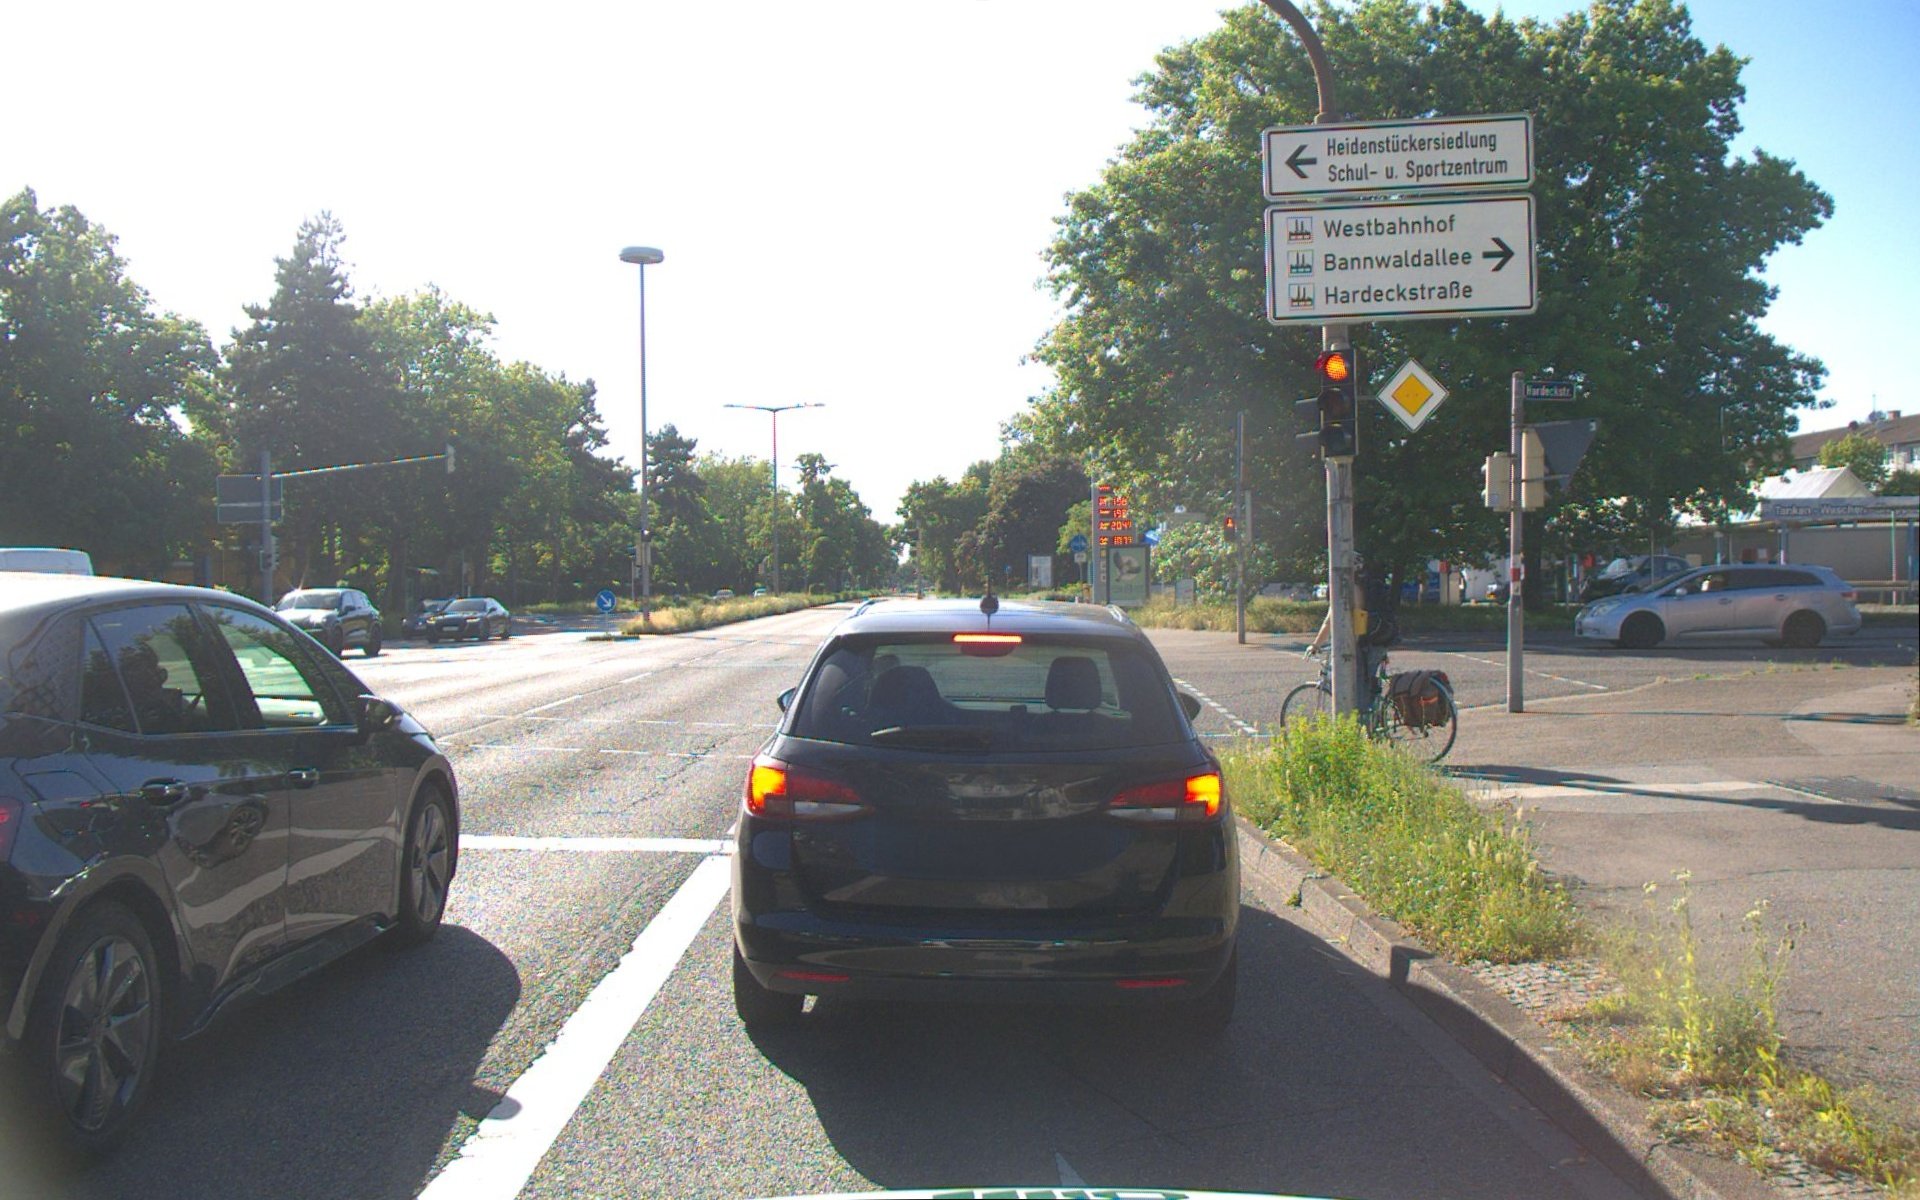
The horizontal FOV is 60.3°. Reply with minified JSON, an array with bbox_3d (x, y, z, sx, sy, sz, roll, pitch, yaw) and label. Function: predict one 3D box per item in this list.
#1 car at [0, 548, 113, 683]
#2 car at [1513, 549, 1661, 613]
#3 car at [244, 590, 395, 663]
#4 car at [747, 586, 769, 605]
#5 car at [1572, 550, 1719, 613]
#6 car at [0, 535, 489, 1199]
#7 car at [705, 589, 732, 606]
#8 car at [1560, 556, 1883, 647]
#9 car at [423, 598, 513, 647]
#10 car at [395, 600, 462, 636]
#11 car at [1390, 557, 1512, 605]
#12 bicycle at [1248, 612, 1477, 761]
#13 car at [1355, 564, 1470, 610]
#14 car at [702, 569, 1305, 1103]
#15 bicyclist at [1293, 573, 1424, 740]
[{"bbox_3d":[-19.101,0.313,32.301,2.057,2.536,6.003,-1,0,-1],"label":"car"},{"bbox_3d":[18.958,-0.587,50.018,3.935,1.780,1.985,-2,1,-24],"label":"car"},{"bbox_3d":[-15.609,0.593,40.585,1.953,1.629,4.615,-1,0,-1],"label":"car"},{"bbox_3d":[-22.767,-0.514,186.685,1.953,2.049,3.999,-2,0,-1],"label":"car"},{"bbox_3d":[19.989,-0.538,48.202,3.934,1.709,1.732,-2,0,-24],"label":"car"},{"bbox_3d":[-3.001,0.657,5.612,1.650,1.608,4.206,0,0,-1],"label":"car"},{"bbox_3d":[-22.453,-0.229,153.725,1.953,1.556,3.999,-2,0,-1],"label":"car"},{"bbox_3d":[13.537,0.027,29.709,4.897,1.512,2.002,-1,0,11],"label":"car"},{"bbox_3d":[-16.181,0.701,54.547,1.740,1.488,4.164,-1,0,-1],"label":"car"},{"bbox_3d":[-20.090,0.671,62.634,1.361,1.256,3.635,-1,0,-1],"label":"car"},{"bbox_3d":[16.909,-0.656,56.991,3.837,1.544,1.732,-2,0,-24],"label":"car"},{"bbox_3d":[3.224,0.698,13.377,0.533,1.117,1.748,-2,-2,-44],"label":"bicycle"},{"bbox_3d":[16.432,-0.469,60.066,3.837,1.544,1.732,-2,0,-24],"label":"car"},{"bbox_3d":[0.100,0.683,6.844,1.721,1.521,4.206,0,0,-1],"label":"car"},{"bbox_3d":[3.217,0.456,13.379,0.534,1.299,0.816,-2,-2,-44],"label":"bicyclist"}]
